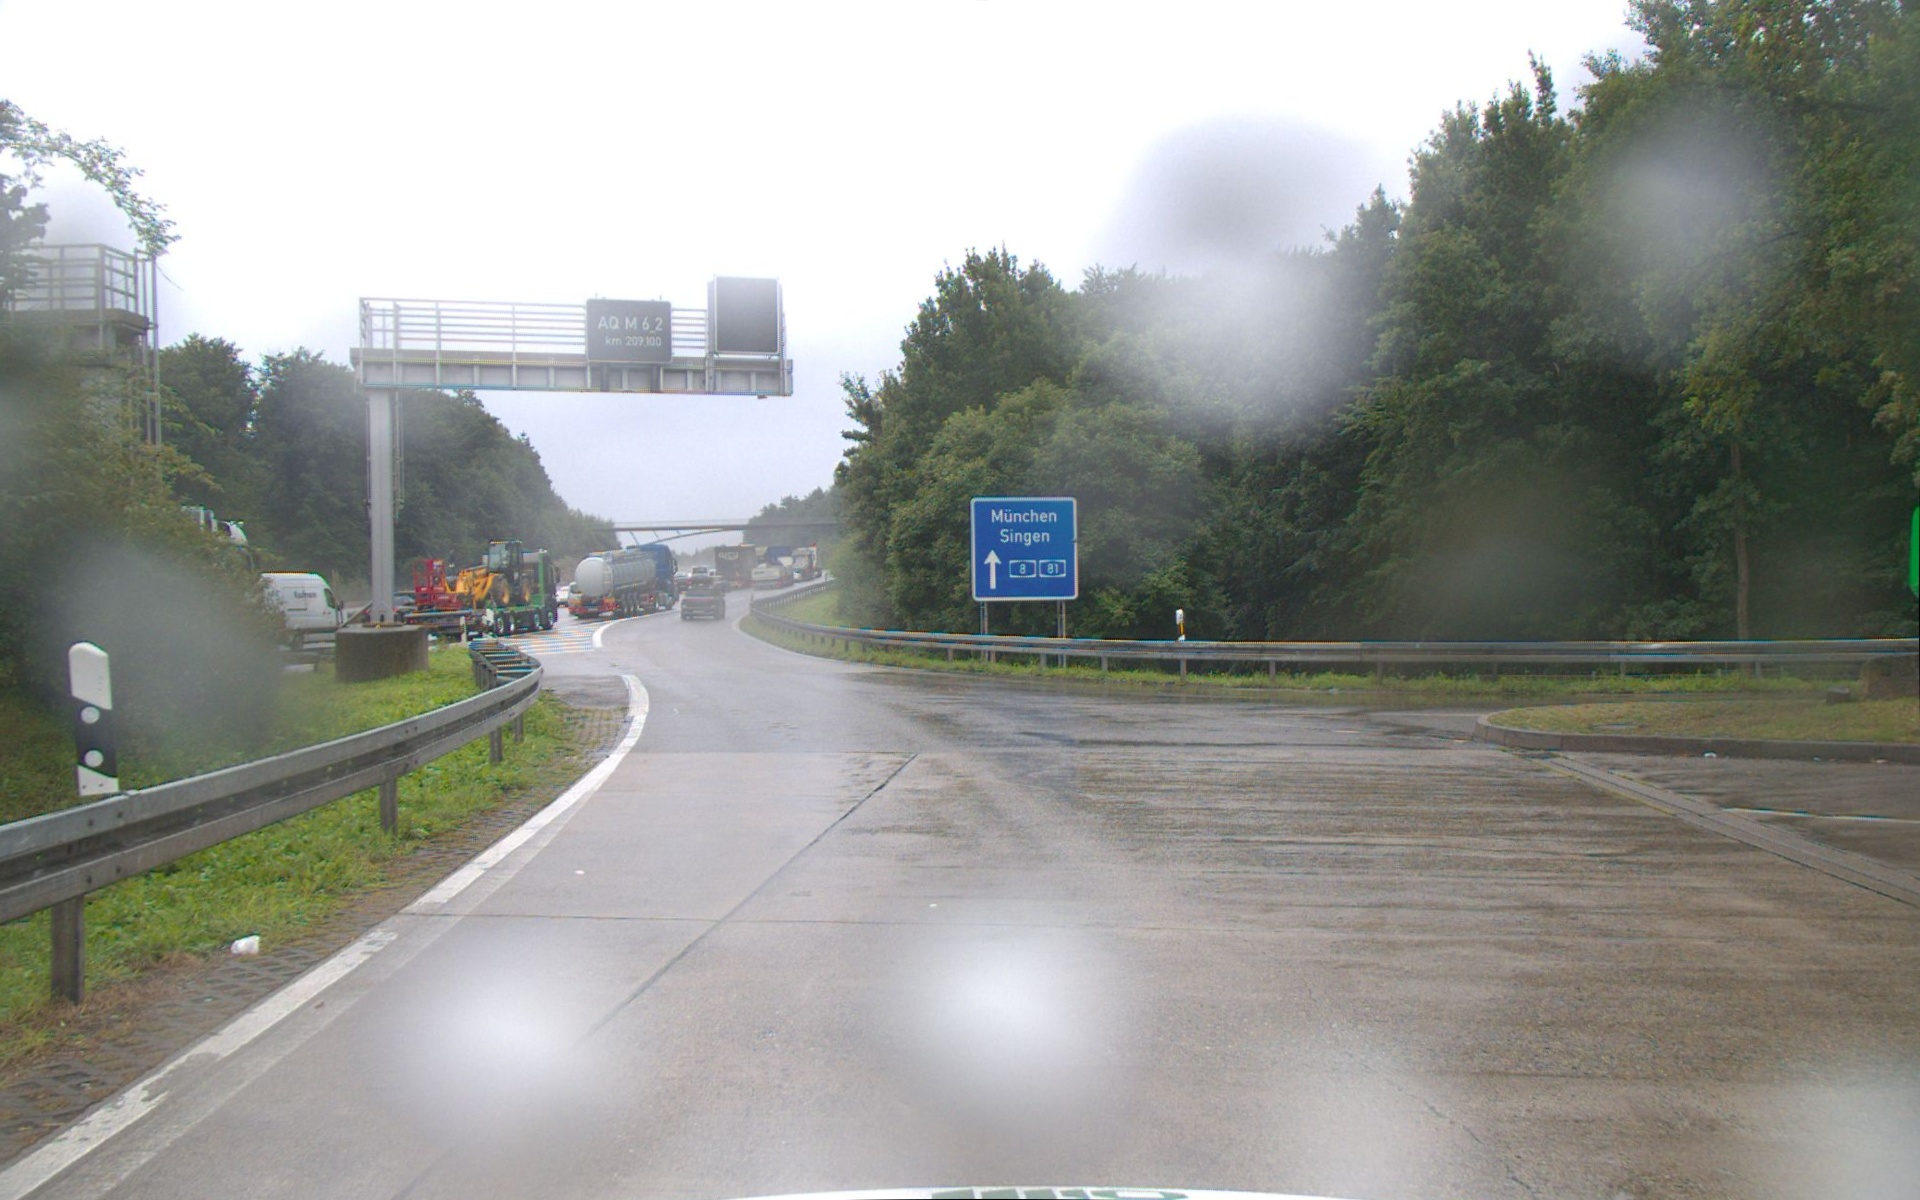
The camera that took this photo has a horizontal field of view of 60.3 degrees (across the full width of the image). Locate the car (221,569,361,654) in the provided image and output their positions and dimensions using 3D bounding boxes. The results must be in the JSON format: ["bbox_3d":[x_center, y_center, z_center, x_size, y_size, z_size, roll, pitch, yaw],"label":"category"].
[{"bbox_3d":[-22.899,0.331,56.921,2.169,2.675,5.846,-2,1,2],"label":"car"}]

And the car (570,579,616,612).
[{"bbox_3d":[-21.374,-0.257,96.428,1.782,1.797,4.000,-1,1,0],"label":"car"}]

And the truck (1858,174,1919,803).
[{"bbox_3d":[9.234,-0.862,10.087,2.803,4.222,5.907,-2,-1,-41],"label":"truck"}]

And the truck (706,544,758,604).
[{"bbox_3d":[-22.002,-2.432,160.189,3.678,5.595,10.170,1,0,-1],"label":"truck"}]

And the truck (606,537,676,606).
[{"bbox_3d":[-18.170,-1.653,94.389,2.818,3.757,5.057,-2,2,1],"label":"truck"}]

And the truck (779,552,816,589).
[{"bbox_3d":[-18.804,-3.378,192.011,3.680,4.040,11.051,1,0,-3],"label":"truck"}]

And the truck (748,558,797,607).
[{"bbox_3d":[-17.233,-1.664,152.848,3.528,4.176,11.555,-2,2,-3],"label":"truck"}]

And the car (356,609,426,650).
[{"bbox_3d":[-25.868,1.331,75.287,1.749,1.757,4.000,1,0,0],"label":"car"}]

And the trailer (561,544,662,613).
[{"bbox_3d":[-18.315,-1.225,87.646,2.814,3.345,10.082,-2,2,2],"label":"trailer"}]

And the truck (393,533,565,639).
[{"bbox_3d":[-18.669,-0.627,65.278,2.772,3.650,11.802,-3,1,2],"label":"truck"}]

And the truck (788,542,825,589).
[{"bbox_3d":[-19.748,-4.375,213.153,4.250,5.864,9.724,1,0,-3],"label":"truck"}]

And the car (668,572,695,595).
[{"bbox_3d":[-24.765,-1.428,147.075,1.761,1.937,3.999,-2,0,-1],"label":"car"}]

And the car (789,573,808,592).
[{"bbox_3d":[-17.478,-1.885,179.546,1.761,1.937,3.998,-2,0,-2],"label":"car"}]

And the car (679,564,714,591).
[{"bbox_3d":[-31.368,-2.673,197.288,3.180,3.055,6.771,1,0,-1],"label":"car"}]

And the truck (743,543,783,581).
[{"bbox_3d":[-23.392,-4.453,196.638,3.504,4.167,10.877,-2,0,-1],"label":"truck"}]

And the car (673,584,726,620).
[{"bbox_3d":[-12.543,0.110,79.855,1.953,1.665,3.999,1,0,-2],"label":"car"}]

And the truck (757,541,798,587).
[{"bbox_3d":[-18.577,-3.562,168.720,3.437,4.342,10.597,1,0,-3],"label":"truck"}]

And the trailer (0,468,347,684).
[{"bbox_3d":[-19.205,-0.522,39.900,2.857,4.278,13.643,-2,1,4],"label":"trailer"}]

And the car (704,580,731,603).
[{"bbox_3d":[-20.532,-0.707,140.055,1.761,1.937,3.998,1,0,-2],"label":"car"}]
